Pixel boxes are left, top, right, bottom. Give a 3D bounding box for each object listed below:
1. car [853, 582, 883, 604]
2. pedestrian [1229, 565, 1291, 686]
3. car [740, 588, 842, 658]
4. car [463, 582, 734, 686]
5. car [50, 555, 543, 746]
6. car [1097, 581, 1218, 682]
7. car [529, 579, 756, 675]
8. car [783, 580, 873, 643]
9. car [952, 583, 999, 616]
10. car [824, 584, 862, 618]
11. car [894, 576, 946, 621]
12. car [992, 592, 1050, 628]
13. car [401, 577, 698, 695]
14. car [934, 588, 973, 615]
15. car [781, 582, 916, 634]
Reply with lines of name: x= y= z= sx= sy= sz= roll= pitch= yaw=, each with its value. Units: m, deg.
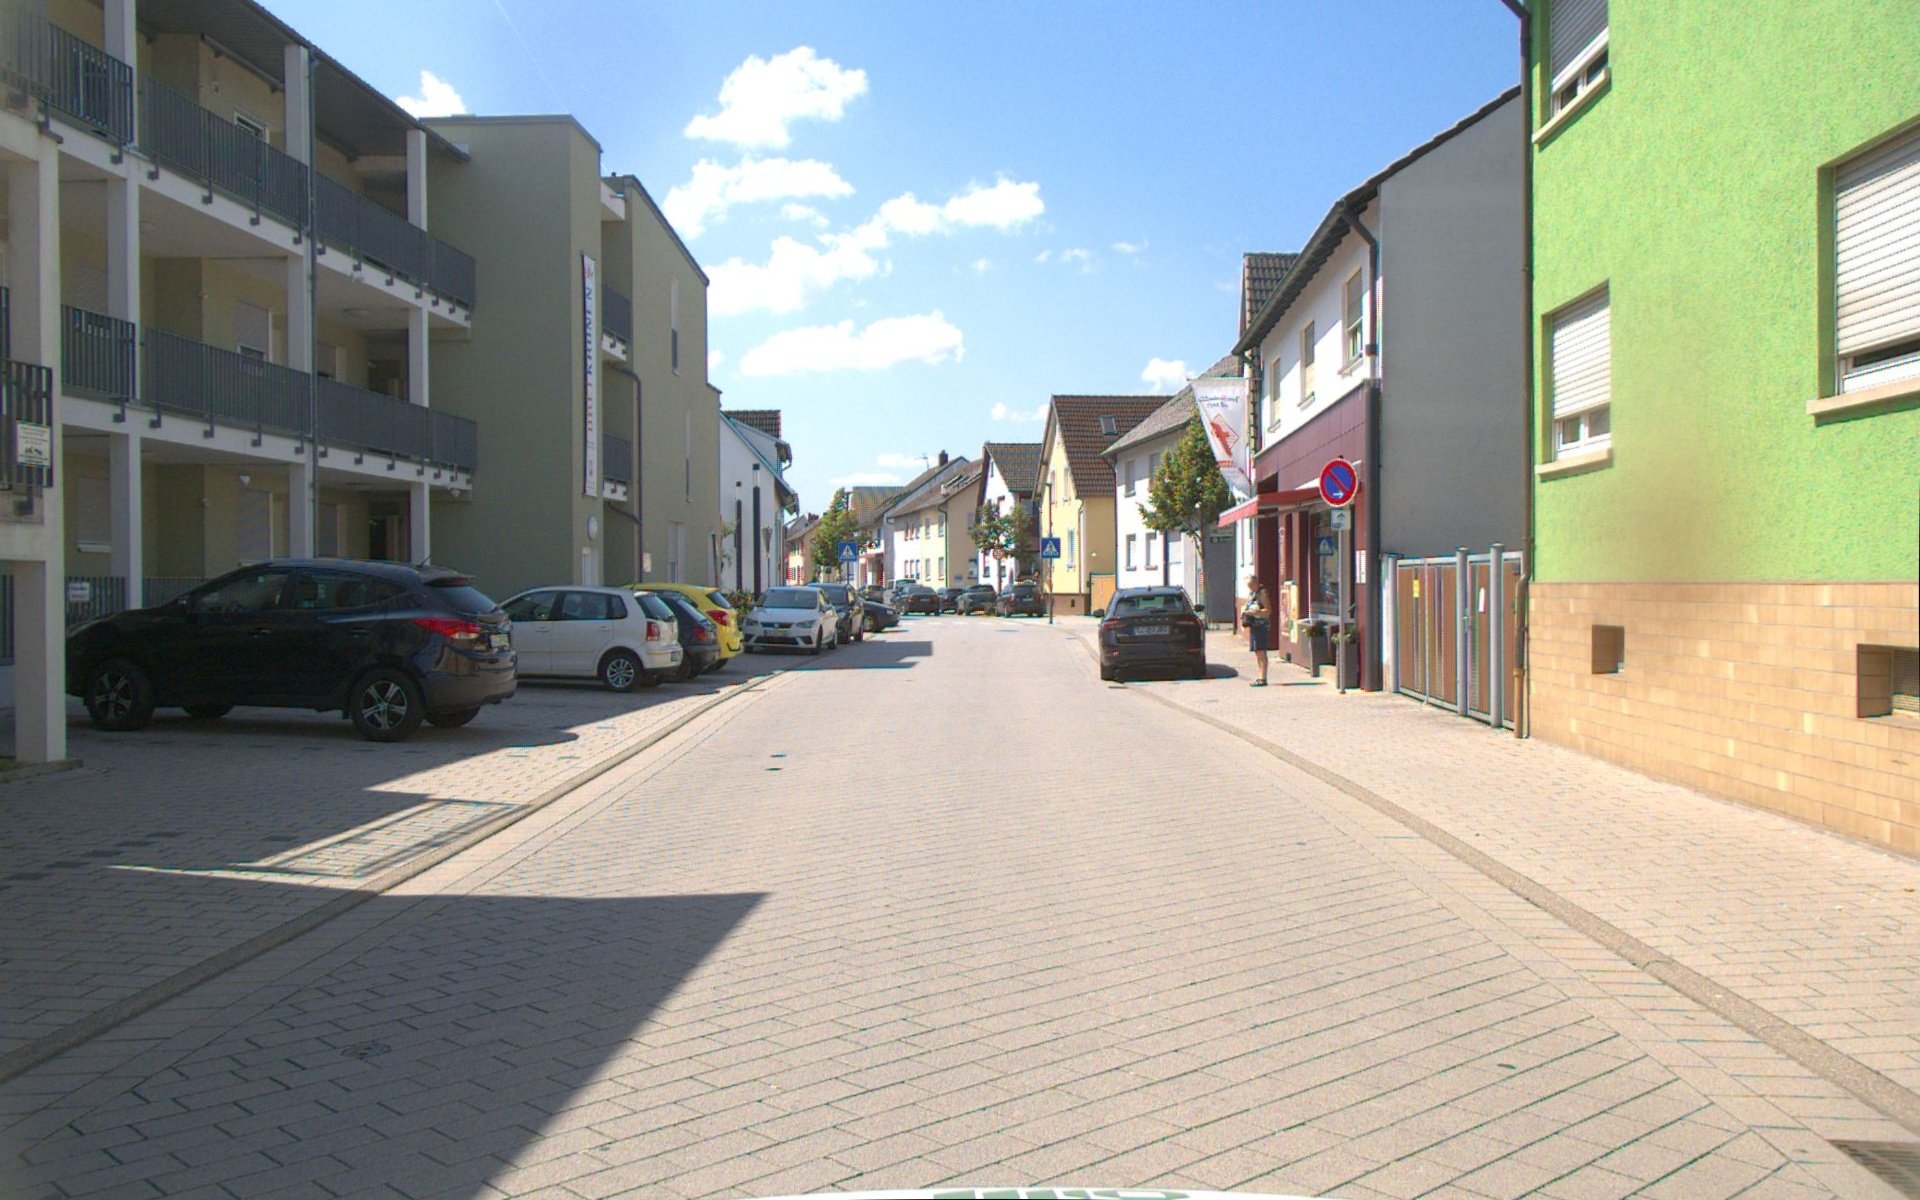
car: x=-6.712 y=-0.525 z=120.378 sx=1.722 sy=1.519 sz=3.992 roll=-1 pitch=1 yaw=-9
pedestrian: x=4.315 y=0.359 z=23.860 sx=0.714 sy=1.668 sz=0.749 roll=-4 pitch=0 yaw=5
car: x=-3.789 y=0.482 z=37.671 sx=1.721 sy=1.435 sz=3.879 roll=1 pitch=1 yaw=3
car: x=-5.750 y=0.524 z=26.613 sx=3.904 sy=1.467 sz=1.692 roll=2 pitch=1 yaw=3
car: x=-6.464 y=0.458 z=16.419 sx=4.131 sy=1.687 sz=1.785 roll=1 pitch=1 yaw=2
car: x=3.311 y=0.475 z=28.176 sx=1.819 sy=1.484 sz=4.589 roll=-3 pitch=0 yaw=6
car: x=-5.576 y=0.448 z=29.305 sx=3.614 sy=1.552 sz=1.673 roll=2 pitch=1 yaw=4
car: x=-3.393 y=0.258 z=43.248 sx=1.775 sy=1.516 sz=4.279 roll=1 pitch=1 yaw=3
car: x=0.759 y=-0.036 z=84.747 sx=1.812 sy=1.590 sz=3.686 roll=-1 pitch=1 yaw=-9
car: x=-5.711 y=0.022 z=80.138 sx=1.713 sy=1.556 sz=3.995 roll=0 pitch=1 yaw=-6
car: x=-2.016 y=-0.096 z=82.148 sx=1.957 sy=2.093 sz=4.364 roll=-1 pitch=1 yaw=-9
car: x=2.736 y=0.434 z=75.234 sx=1.795 sy=1.497 sz=4.267 roll=-3 pitch=1 yaw=-9
car: x=-5.951 y=0.496 z=24.228 sx=3.819 sy=1.528 sz=1.752 roll=2 pitch=1 yaw=4
car: x=-0.383 y=0.065 z=92.155 sx=1.679 sy=1.411 sz=3.698 roll=-1 pitch=1 yaw=-9
car: x=-3.515 y=0.241 z=52.544 sx=4.020 sy=1.463 sz=1.766 roll=-2 pitch=1 yaw=3
